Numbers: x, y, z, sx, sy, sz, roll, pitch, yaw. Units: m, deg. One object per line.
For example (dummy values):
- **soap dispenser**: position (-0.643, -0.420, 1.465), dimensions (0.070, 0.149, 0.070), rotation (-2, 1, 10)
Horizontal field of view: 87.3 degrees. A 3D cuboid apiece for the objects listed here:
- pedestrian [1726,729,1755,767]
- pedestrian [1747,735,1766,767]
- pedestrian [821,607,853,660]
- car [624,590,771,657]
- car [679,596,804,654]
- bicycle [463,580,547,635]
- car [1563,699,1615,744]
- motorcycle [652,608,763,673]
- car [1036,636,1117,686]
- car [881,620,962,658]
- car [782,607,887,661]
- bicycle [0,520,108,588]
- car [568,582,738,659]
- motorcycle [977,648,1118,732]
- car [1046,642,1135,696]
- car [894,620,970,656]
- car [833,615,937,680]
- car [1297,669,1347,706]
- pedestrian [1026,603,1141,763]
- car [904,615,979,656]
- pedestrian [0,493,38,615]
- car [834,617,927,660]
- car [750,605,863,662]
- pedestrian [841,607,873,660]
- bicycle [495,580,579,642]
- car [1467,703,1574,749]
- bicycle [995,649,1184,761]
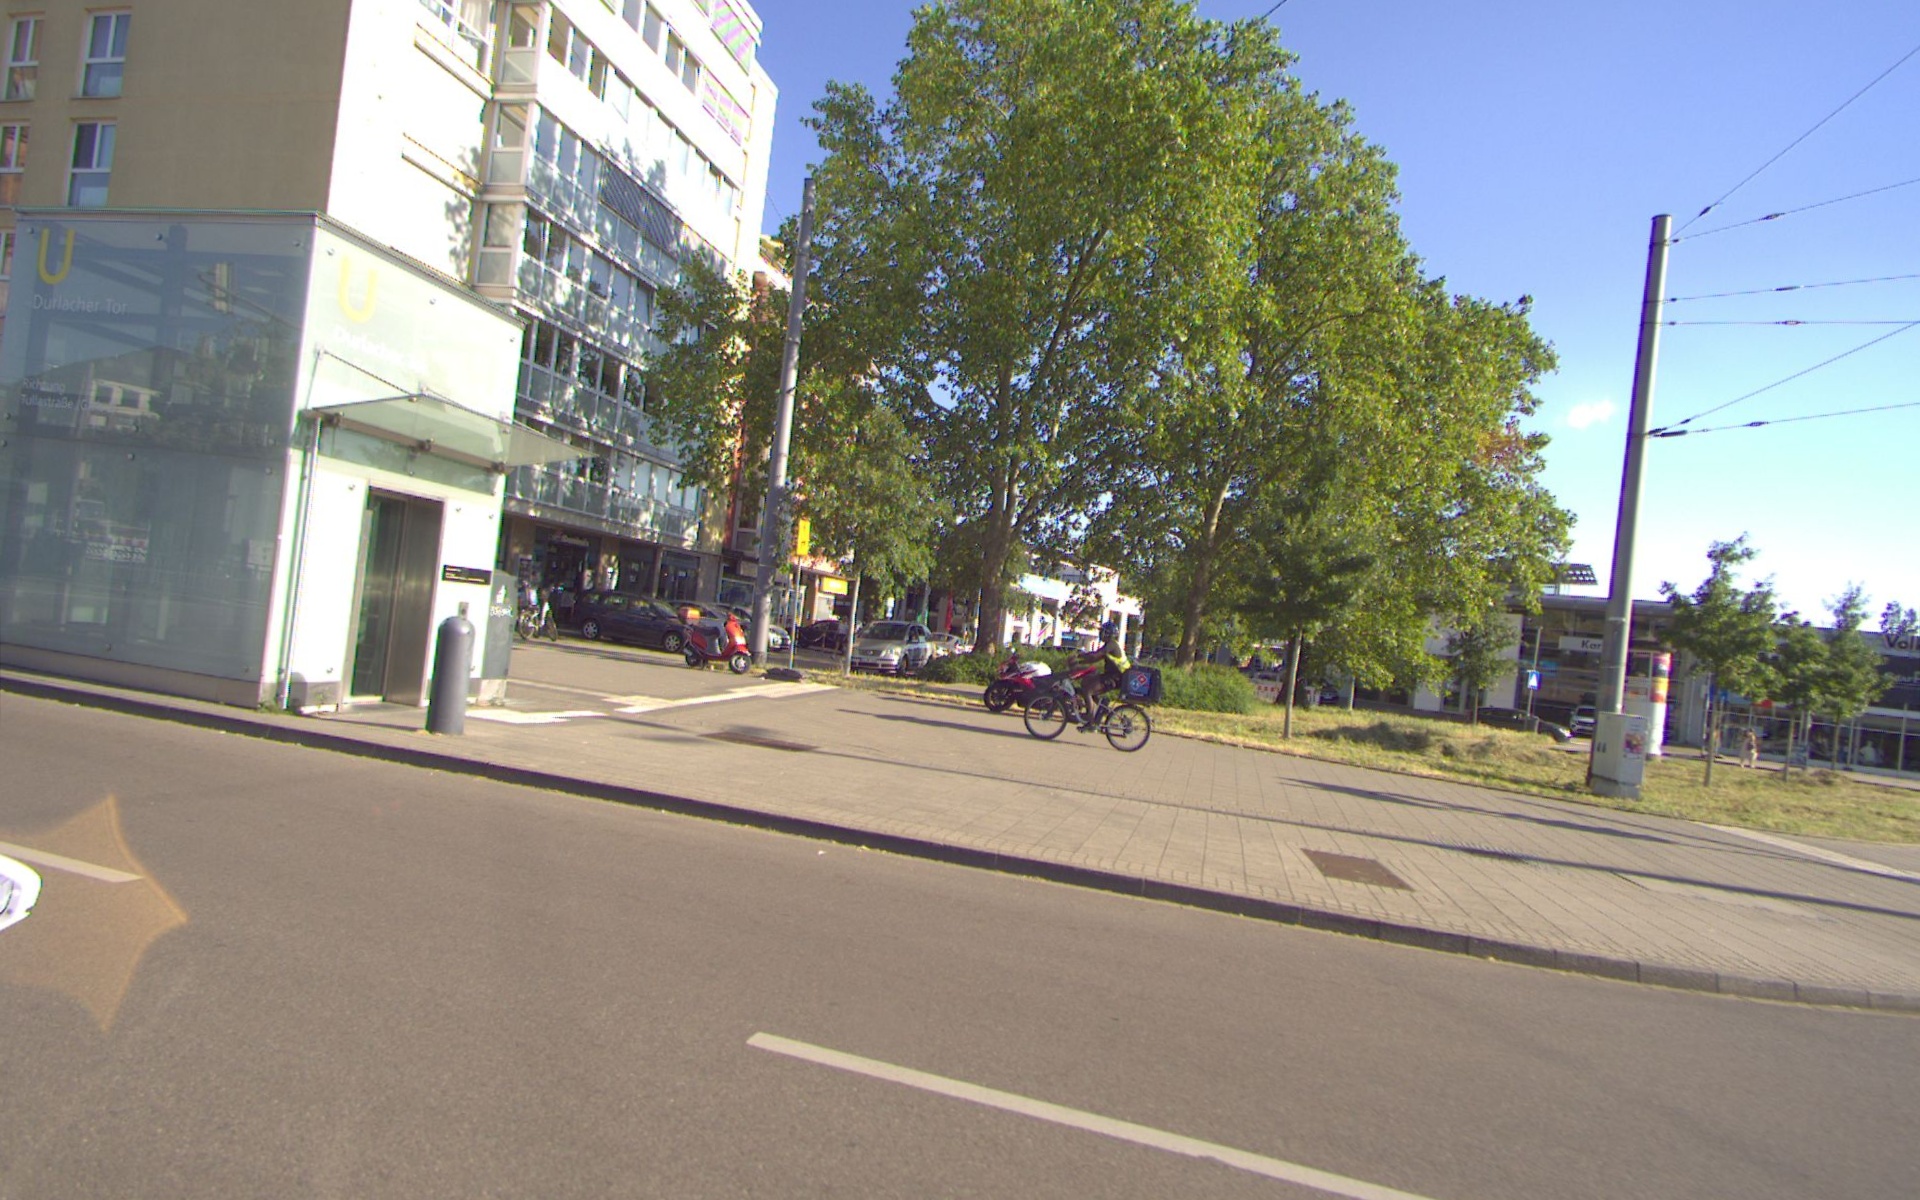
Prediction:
- **pedestrian**: position (35.033, 6.641, 45.146), dimensions (0.710, 1.533, 0.831), rotation (6, -1, 23)
- **pedestrian**: position (35.573, 6.728, 44.918), dimensions (0.404, 1.330, 0.573), rotation (6, -1, 23)
- **pedestrian**: position (-4.637, 1.264, 37.958), dimensions (0.739, 1.888, 0.832), rotation (6, -1, 18)
- **car**: position (-8.198, 0.743, 31.546), dimensions (3.925, 1.437, 1.857), rotation (9, 0, 16)
- **car**: position (-7.969, 0.923, 36.811), dimensions (3.925, 1.437, 1.857), rotation (9, 0, 16)
- **bicycle**: position (-11.063, 0.205, 24.548), dimensions (0.800, 1.215, 1.999), rotation (6, 0, 10)
- **car**: position (34.621, 6.664, 55.350), dimensions (1.968, 2.038, 3.990), rotation (9, 0, 35)
- **motorcycle**: position (-4.837, 0.767, 19.310), dimensions (1.769, 1.059, 0.881), rotation (5, 0, 13)
- **car**: position (6.353, 3.270, 54.540), dimensions (3.924, 2.023, 1.857), rotation (9, 1, 13)
- **car**: position (-2.132, 2.136, 55.678), dimensions (3.925, 1.437, 1.857), rotation (9, 0, 16)
- **car**: position (-5.448, 1.483, 43.859), dimensions (3.925, 1.655, 1.857), rotation (9, 1, 16)
- **bicycle**: position (-21.321, -1.096, 23.106), dimensions (3.003, 1.279, 0.989), rotation (6, -1, 14)
- **car**: position (-8.815, 0.593, 28.975), dimensions (4.147, 1.501, 1.857), rotation (9, 0, 12)
- **motorcycle**: position (1.472, 1.527, 17.361), dimensions (2.240, 1.087, 1.040), rotation (7, 0, 0)
- **car**: position (6.368, 3.324, 49.040), dimensions (3.924, 1.891, 1.857), rotation (9, 1, 13)
- **car**: position (-1.625, 2.227, 58.478), dimensions (3.925, 1.437, 1.857), rotation (9, 0, 16)
- **car**: position (-2.211, 1.445, 30.896), dimensions (1.885, 1.718, 4.002), rotation (4, -1, 15)
- **car**: position (22.654, 5.468, 63.104), dimensions (1.766, 1.531, 3.995), rotation (9, 4, 5)
- **pedestrian**: position (1.813, 1.175, 14.609), dimensions (1.246, 2.038, 1.034), rotation (9, 1, 14)
- **car**: position (-1.076, 2.137, 60.367), dimensions (3.925, 1.801, 1.857), rotation (9, 1, 16)
- **pedestrian**: position (-15.375, -0.753, 16.018), dimensions (0.690, 1.888, 0.748), rotation (7, -1, -27)
- **car**: position (-3.791, 1.845, 48.329), dimensions (3.925, 1.437, 1.857), rotation (9, 0, 16)
- **car**: position (-6.190, 1.353, 40.677), dimensions (3.925, 1.655, 1.857), rotation (9, 1, 16)
- **pedestrian**: position (-3.857, 1.254, 37.678), dimensions (0.739, 1.888, 0.832), rotation (6, -1, 18)
- **bicycle**: position (-10.140, 0.280, 24.215), dimensions (0.800, 1.362, 1.999), rotation (6, 0, 10)
- **car**: position (26.562, 5.937, 47.734), dimensions (4.102, 1.353, 1.749), rotation (9, 0, 36)
- **bicycle**: position (1.891, 1.477, 14.590), dimensions (2.483, 1.137, 1.034), rotation (9, 1, 14)
